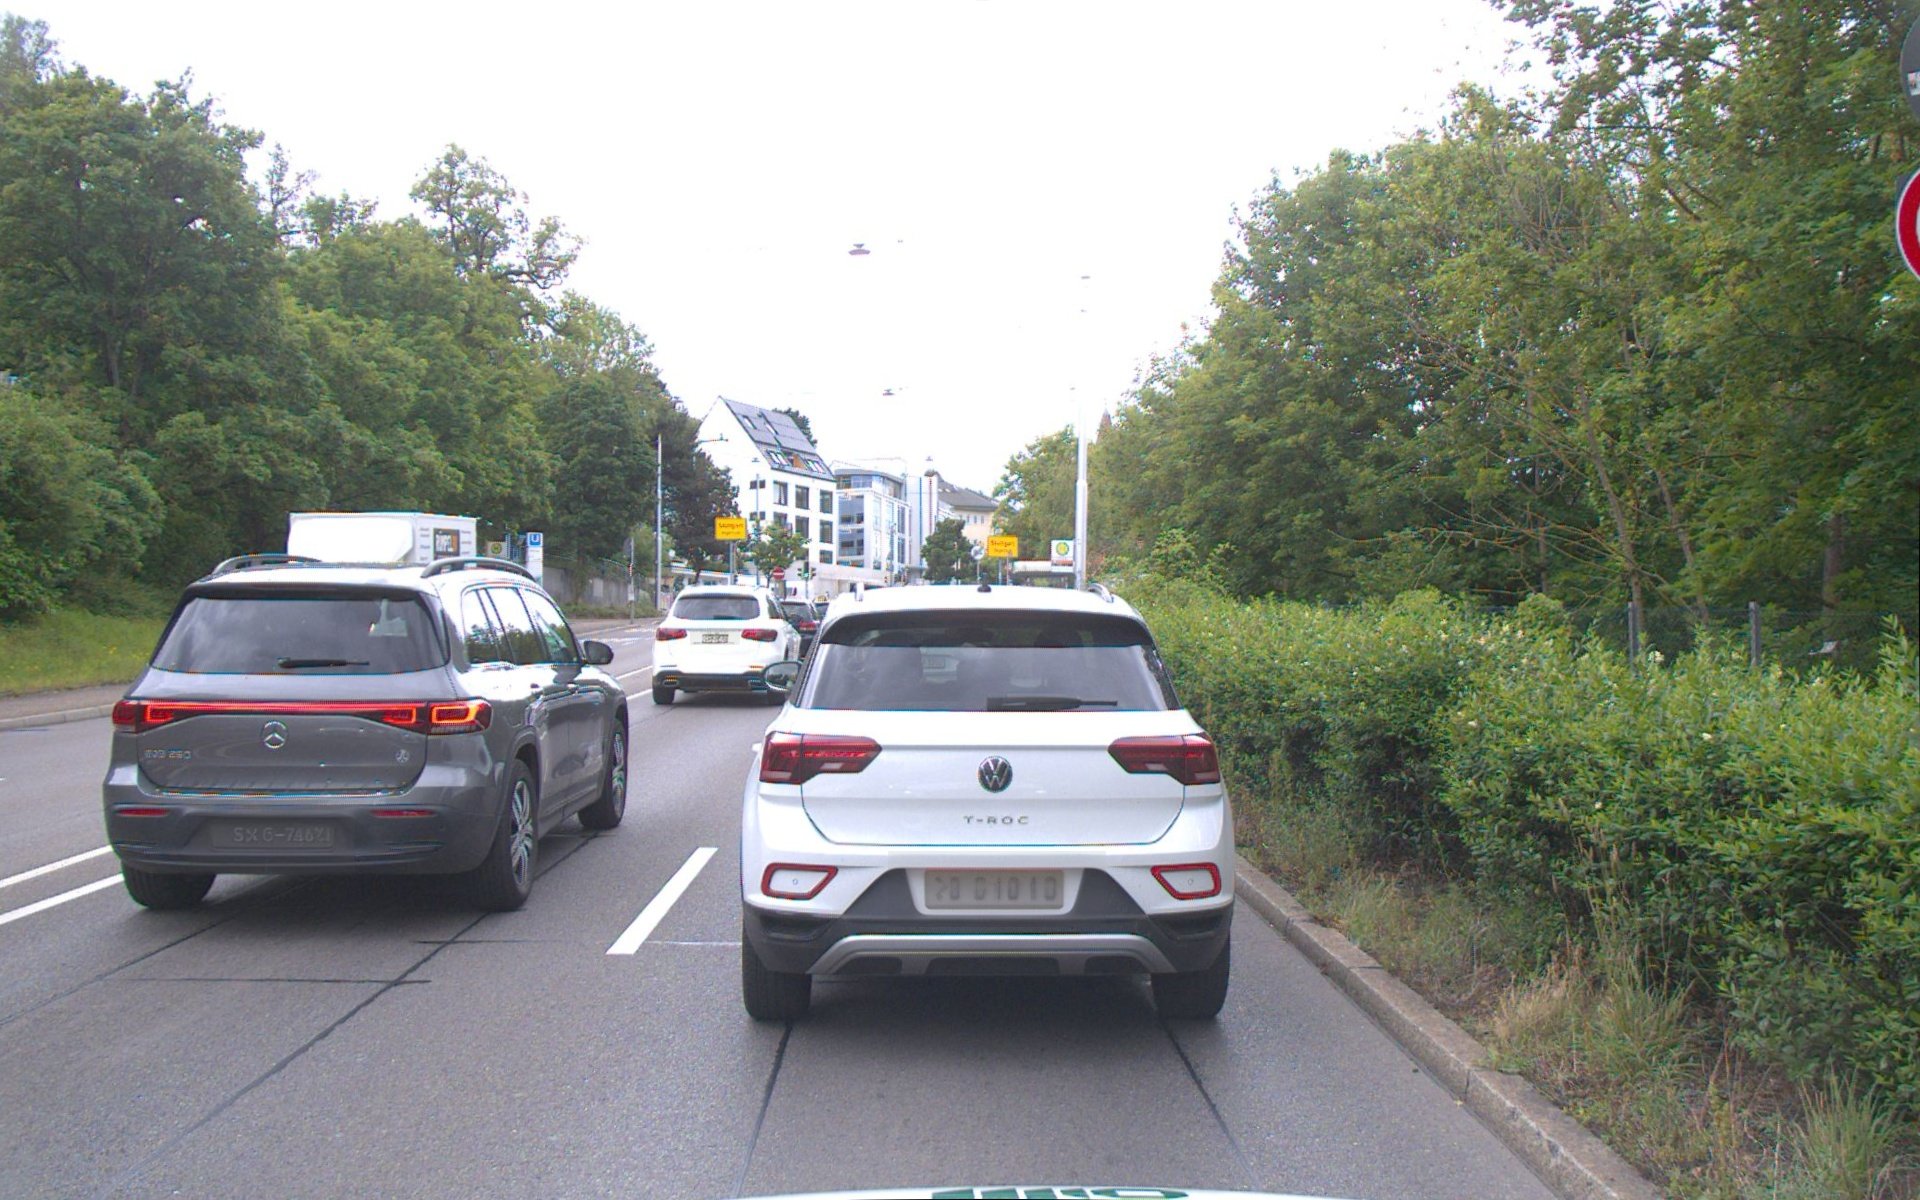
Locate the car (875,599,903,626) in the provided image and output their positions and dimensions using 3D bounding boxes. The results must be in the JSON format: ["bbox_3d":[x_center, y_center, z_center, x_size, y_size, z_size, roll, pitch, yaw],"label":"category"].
[{"bbox_3d":[-4.669,0.793,108.987,1.778,1.685,3.927,-1,0,-2],"label":"car"}]

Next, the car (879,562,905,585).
[{"bbox_3d":[-4.770,-1.849,116.158,1.792,1.552,3.999,-1,0,-2],"label":"car"}]

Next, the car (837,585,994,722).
[{"bbox_3d":[-0.572,0.617,21.167,1.792,1.552,3.999,-1,0,-2],"label":"car"}]

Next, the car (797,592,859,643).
[{"bbox_3d":[-4.221,0.552,53.352,1.792,1.552,3.999,-1,0,-2],"label":"car"}]

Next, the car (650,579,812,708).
[{"bbox_3d":[-3.230,0.577,24.020,1.879,1.698,3.999,1,0,-2],"label":"car"}]

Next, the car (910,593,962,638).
[{"bbox_3d":[-0.881,0.524,59.796,1.792,1.552,3.999,-1,0,-2],"label":"car"}]

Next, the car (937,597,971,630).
[{"bbox_3d":[-0.417,0.844,104.850,1.954,2.004,3.998,-1,0,-3],"label":"car"}]

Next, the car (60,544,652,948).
[{"bbox_3d":[-2.928,0.605,9.109,1.812,1.680,4.355,0,0,-2],"label":"car"}]

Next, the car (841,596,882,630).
[{"bbox_3d":[-4.629,0.602,78.207,1.792,1.552,3.999,-1,0,-2],"label":"car"}]

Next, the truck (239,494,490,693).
[{"bbox_3d":[-10.385,-0.089,29.602,2.247,3.104,6.975,-1,0,-3],"label":"truck"}]

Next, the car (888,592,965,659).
[{"bbox_3d":[-0.843,0.589,40.821,1.792,1.552,3.999,-1,0,-2],"label":"car"}]

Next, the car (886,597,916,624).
[{"bbox_3d":[-3.643,0.629,102.040,1.792,1.552,3.999,-1,0,-2],"label":"car"}]

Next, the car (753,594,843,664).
[{"bbox_3d":[-3.696,0.632,38.310,1.792,1.523,3.999,-1,0,-2],"label":"car"}]

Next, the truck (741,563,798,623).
[{"bbox_3d":[-9.234,-0.342,80.617,2.315,2.754,4.476,-1,0,-2],"label":"truck"}]

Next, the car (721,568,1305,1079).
[{"bbox_3d":[0.111,0.677,7.078,1.792,1.552,3.999,0,0,-2],"label":"car"}]

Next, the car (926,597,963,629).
[{"bbox_3d":[-0.797,0.636,82.622,1.792,1.552,3.999,-1,0,-2],"label":"car"}]

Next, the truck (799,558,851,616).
[{"bbox_3d":[-6.876,-0.664,84.617,2.315,2.830,4.476,-1,0,-2],"label":"truck"}]
